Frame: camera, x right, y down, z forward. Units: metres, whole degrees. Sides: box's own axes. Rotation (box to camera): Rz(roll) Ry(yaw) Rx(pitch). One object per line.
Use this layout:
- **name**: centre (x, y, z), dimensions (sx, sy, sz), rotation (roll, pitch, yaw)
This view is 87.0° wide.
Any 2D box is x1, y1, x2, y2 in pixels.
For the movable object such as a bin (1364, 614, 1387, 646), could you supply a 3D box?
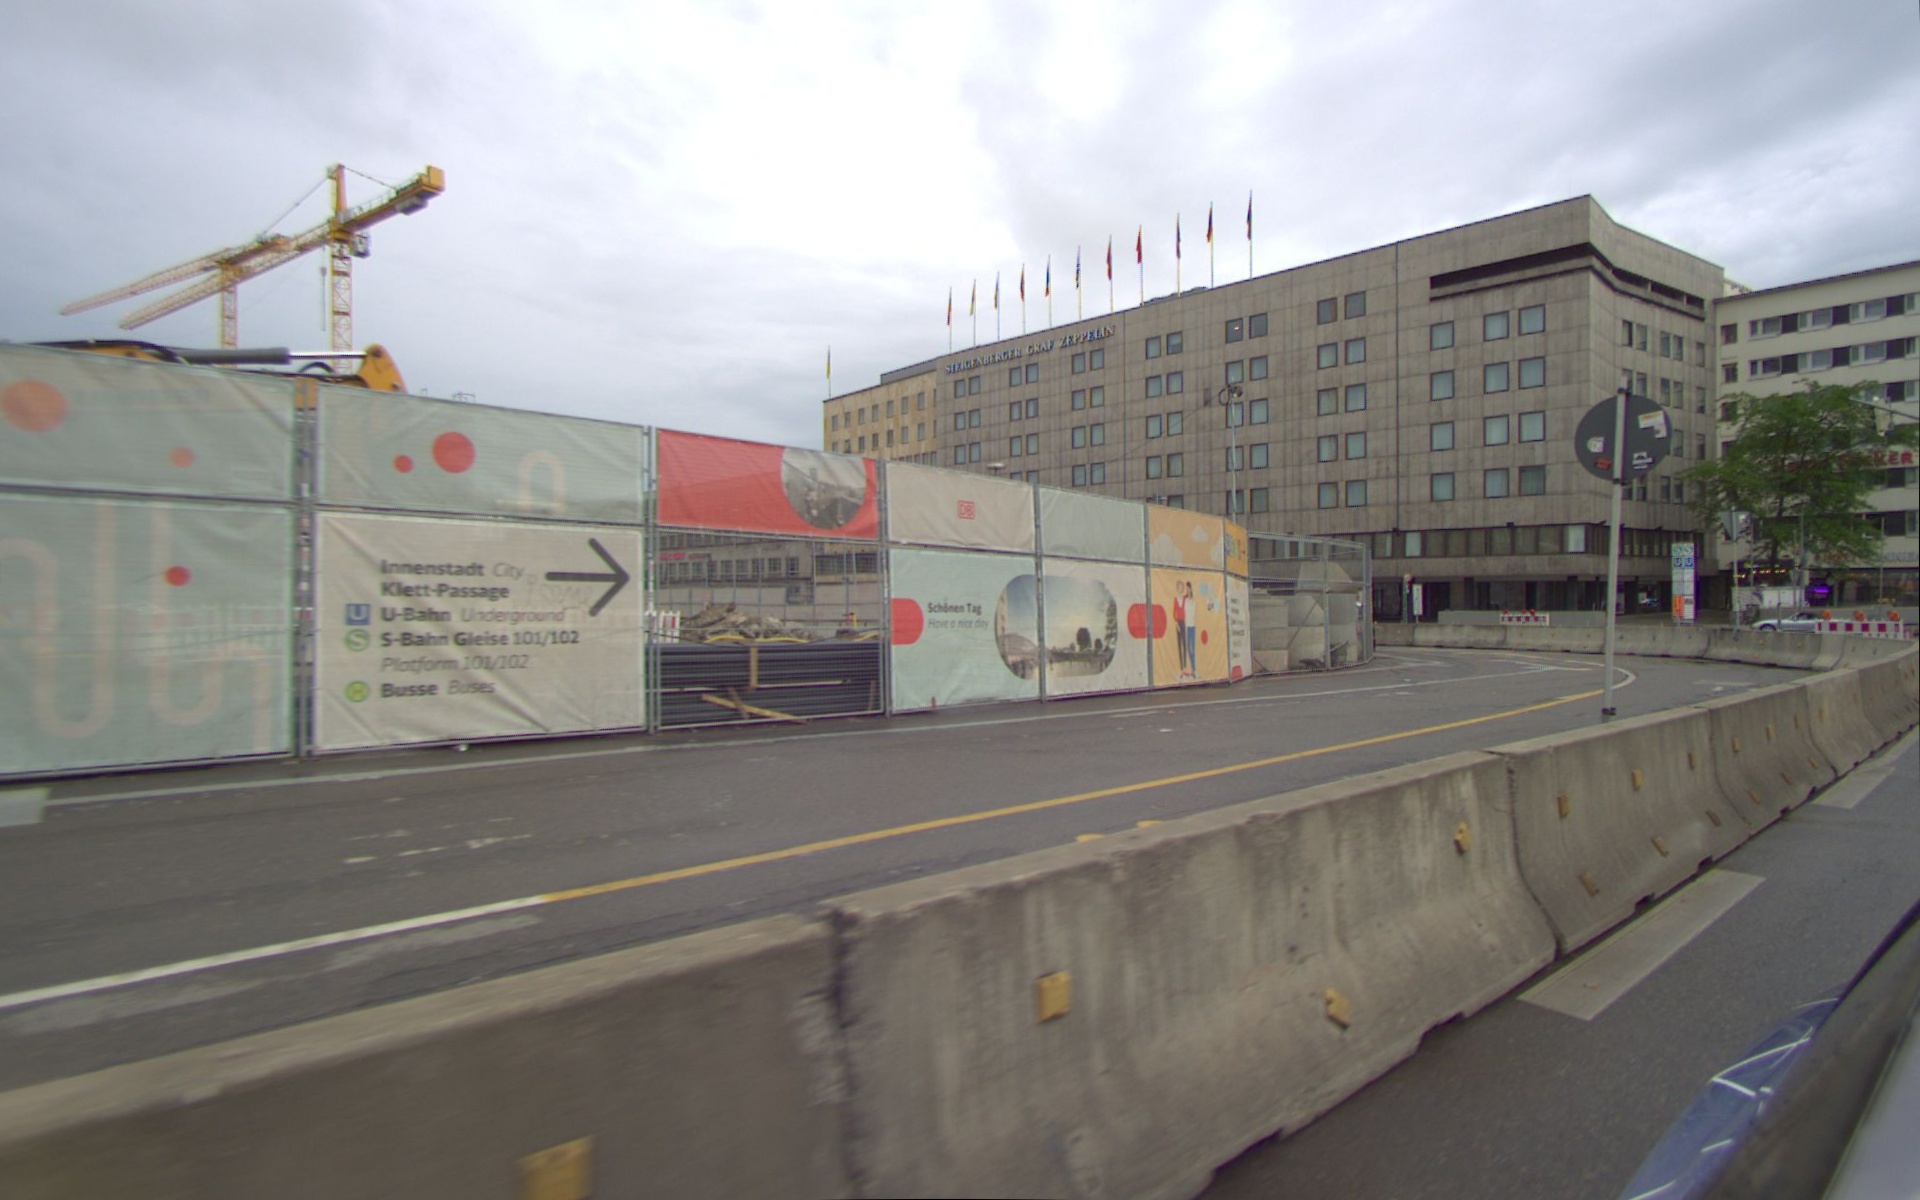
- **movable object such as a bin**: centre (13.353, 0.965, 32.527), dimensions (0.423, 1.029, 0.523), rotation (0, -1, -20)

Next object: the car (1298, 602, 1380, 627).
- **car**: centre (24.861, 0.927, 66.452), dimensions (4.649, 1.619, 1.986), rotation (-1, -1, 45)

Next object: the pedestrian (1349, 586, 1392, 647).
- **pedestrian**: centre (13.033, 0.520, 32.174), dimensions (0.982, 1.889, 0.780), rotation (0, -1, -22)

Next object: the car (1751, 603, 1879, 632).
- **car**: centre (41.539, 0.846, 49.241), dimensions (1.613, 1.326, 4.525), rotation (0, -1, -38)

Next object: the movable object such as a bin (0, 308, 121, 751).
- **movable object such as a bin**: centre (-10.022, -0.615, 8.548), dimensions (4.282, 3.536, 3.933), rotation (1, 0, -43)
